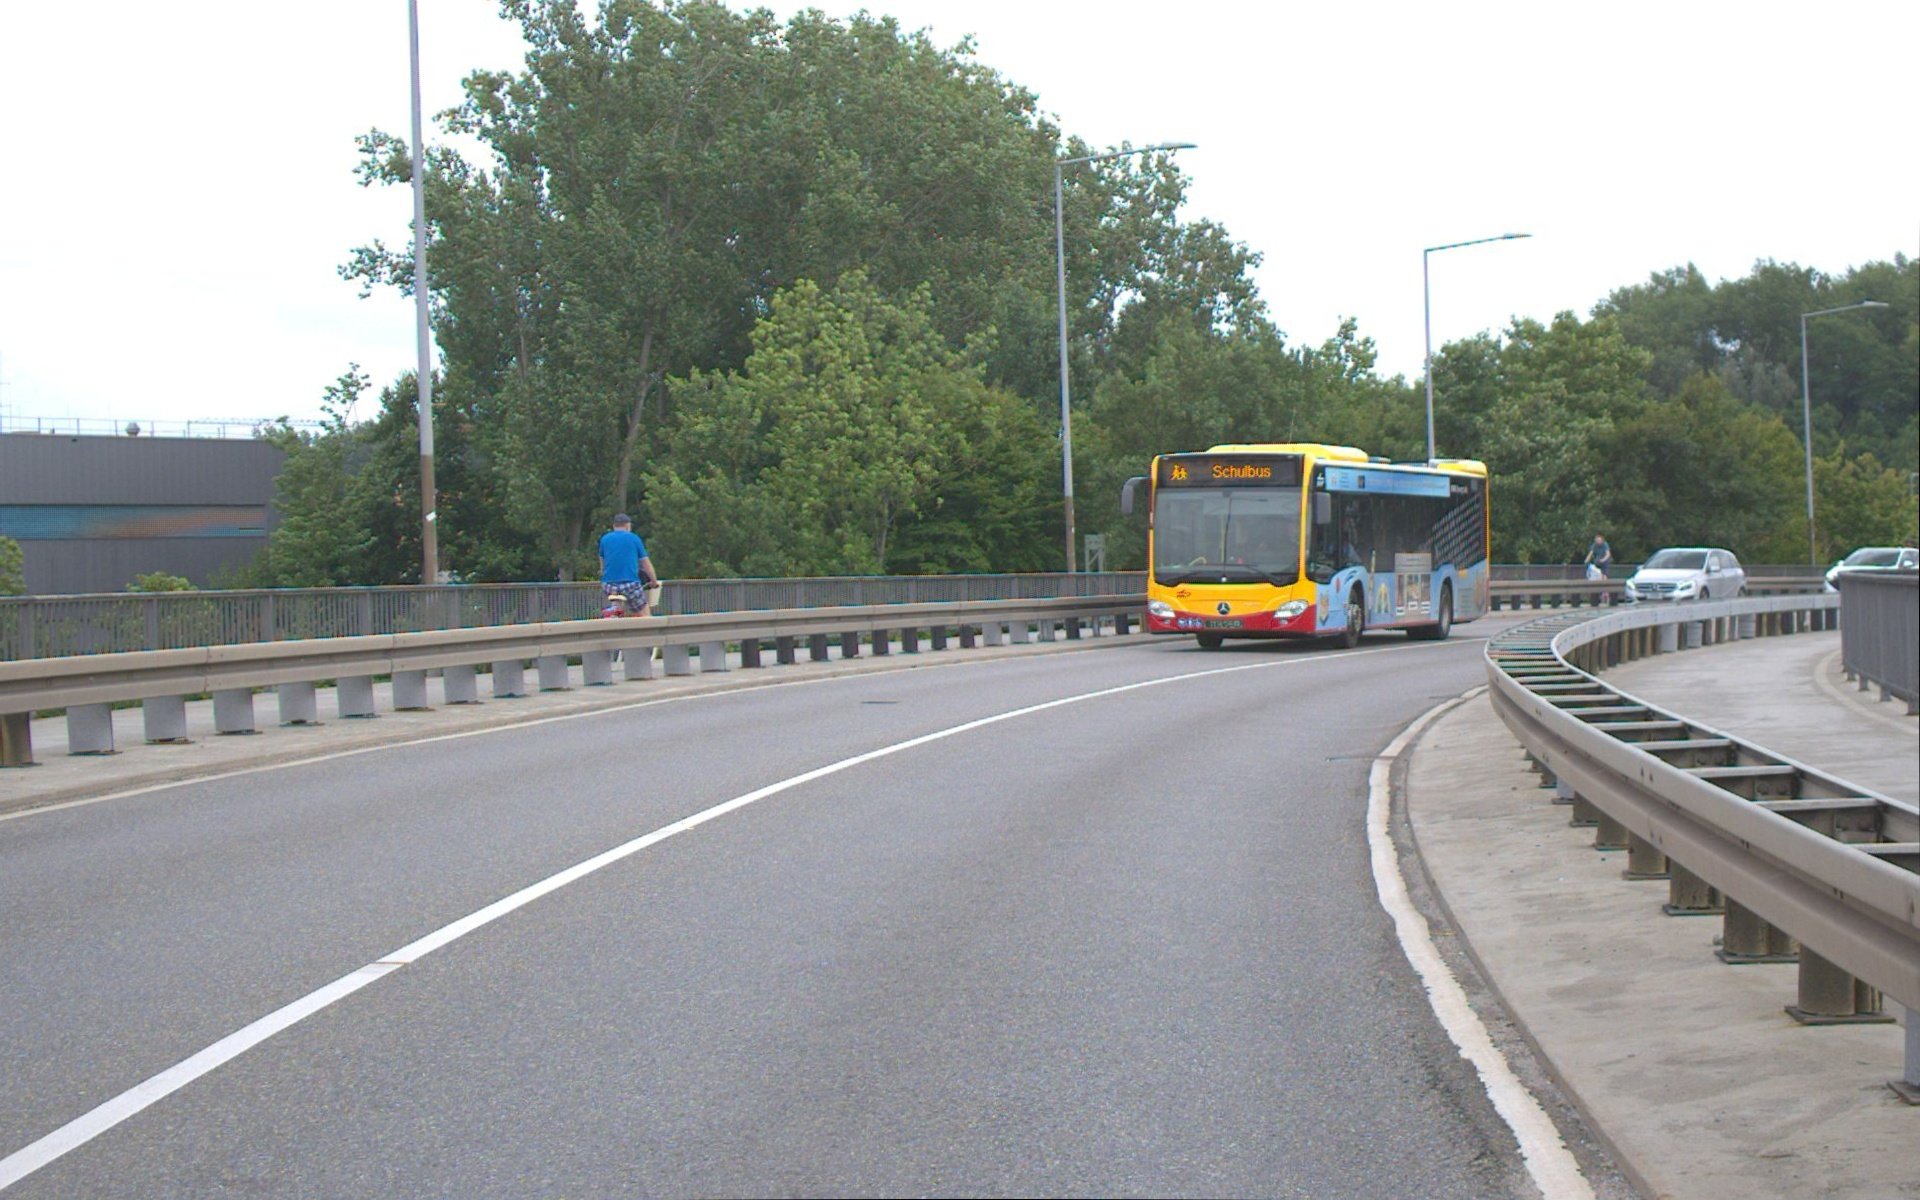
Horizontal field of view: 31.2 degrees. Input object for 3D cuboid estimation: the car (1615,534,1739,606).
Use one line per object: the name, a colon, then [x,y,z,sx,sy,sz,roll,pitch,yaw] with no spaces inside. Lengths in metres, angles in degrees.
car: [16.744,-0.706,80.158,1.820,1.614,4.392,1,1,25]

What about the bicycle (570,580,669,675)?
bicycle: [-3.839,0.297,38.898,0.493,1.042,1.809,1,1,15]

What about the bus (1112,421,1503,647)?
bus: [5.942,-1.027,55.672,3.035,3.222,12.937,1,1,21]

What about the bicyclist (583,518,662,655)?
bicyclist: [-3.820,-0.156,38.909,0.611,1.534,0.756,1,1,20]

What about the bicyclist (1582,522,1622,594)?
bicyclist: [16.333,-1.067,87.448,0.849,1.802,0.796,1,1,22]

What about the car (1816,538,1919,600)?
car: [24.584,-0.814,91.259,1.944,1.588,4.764,1,1,36]

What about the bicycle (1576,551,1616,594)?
bicycle: [16.175,-0.706,87.426,0.646,1.064,1.759,1,1,22]
